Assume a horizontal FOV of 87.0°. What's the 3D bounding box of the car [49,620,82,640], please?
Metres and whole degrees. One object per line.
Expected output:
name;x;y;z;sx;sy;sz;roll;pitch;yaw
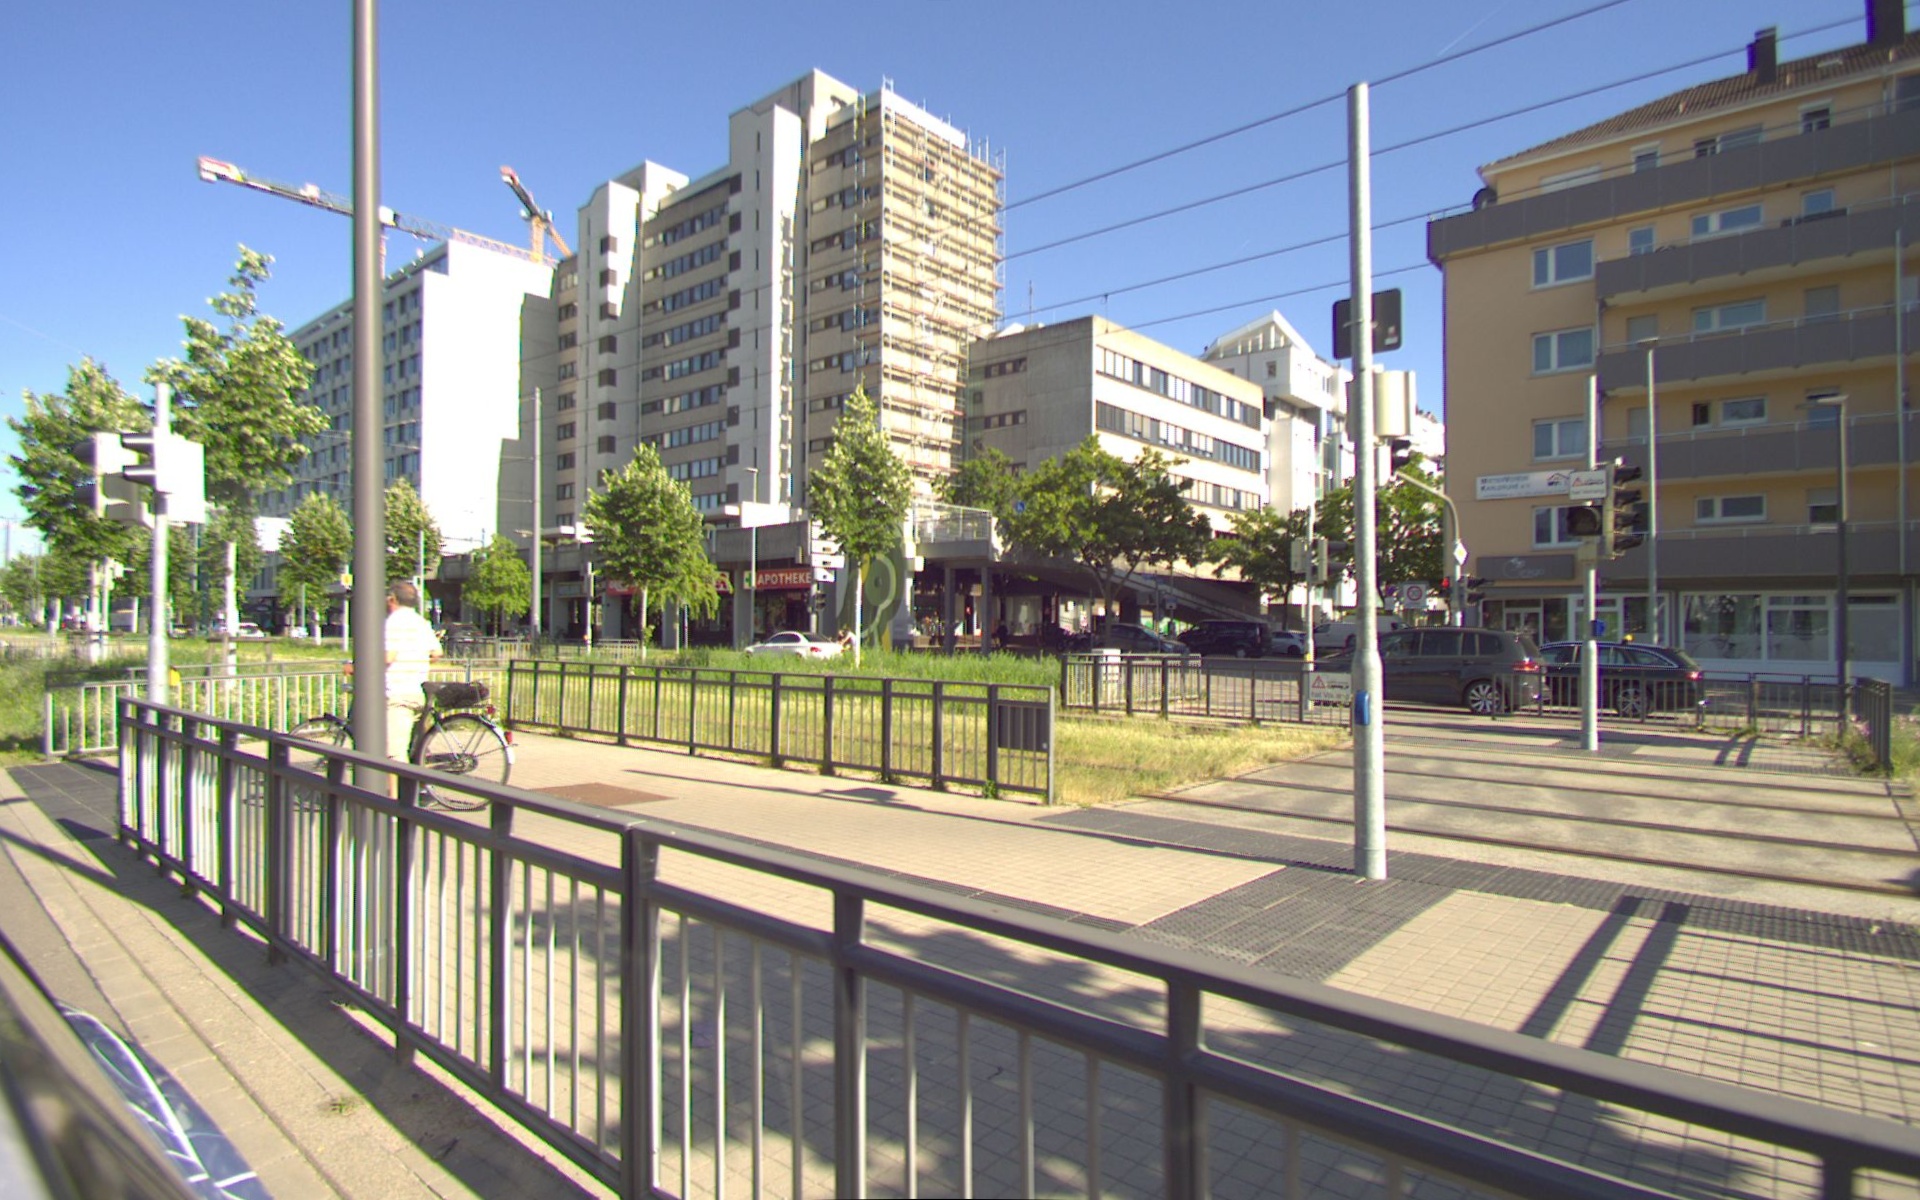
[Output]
car;-86.139;2.830;97.443;4.284;1.833;1.972;-1;-1;42

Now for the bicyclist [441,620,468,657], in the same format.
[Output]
bicyclist;-17.326;1.301;34.718;0.755;1.234;0.582;0;-1;-18

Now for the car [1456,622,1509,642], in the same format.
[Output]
car;46.945;2.849;90.920;3.993;1.652;1.975;-1;-1;37

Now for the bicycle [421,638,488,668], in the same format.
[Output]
bicycle;-17.325;1.813;34.711;1.982;0.958;0.564;0;-1;-18

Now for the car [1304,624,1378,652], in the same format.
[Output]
car;24.091;2.359;63.978;3.994;1.652;1.975;-1;-1;38

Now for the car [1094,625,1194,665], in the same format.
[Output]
car;8.262;1.976;45.507;3.999;1.652;1.972;-1;-1;42

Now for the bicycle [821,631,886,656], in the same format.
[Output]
bicycle;-4.328;1.747;41.040;2.655;0.958;0.558;-1;-1;22

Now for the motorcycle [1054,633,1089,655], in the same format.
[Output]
motorcycle;5.772;2.267;52.557;1.876;1.114;0.440;-1;-1;42

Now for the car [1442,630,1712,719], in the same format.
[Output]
car;12.485;1.446;20.631;4.502;1.590;1.974;-1;-3;39

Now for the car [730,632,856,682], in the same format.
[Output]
car;-5.991;1.974;36.009;4.502;1.590;1.974;-1;-1;39

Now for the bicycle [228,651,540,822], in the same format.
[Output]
bicycle;-4.184;0.942;7.378;2.063;1.099;0.731;-1;-1;15

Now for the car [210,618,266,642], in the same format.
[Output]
car;-49.051;2.020;68.726;4.502;1.590;1.974;-1;-1;39

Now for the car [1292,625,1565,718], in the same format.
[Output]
car;9.048;1.325;19.731;4.502;1.590;1.974;-1;-3;39

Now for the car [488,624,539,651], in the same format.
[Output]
car;-27.380;2.260;62.155;1.691;1.531;4.005;0;-1;-6

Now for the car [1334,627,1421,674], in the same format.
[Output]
car;16.000;1.879;38.710;1.998;1.630;3.947;-1;-1;40

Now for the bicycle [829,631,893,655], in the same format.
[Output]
bicycle;-4.101;1.752;41.708;2.655;0.958;0.558;-1;-1;22

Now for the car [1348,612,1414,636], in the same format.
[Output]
car;29.865;1.675;71.834;3.994;1.652;1.975;-1;-1;38

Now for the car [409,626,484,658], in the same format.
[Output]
car;-27.102;2.193;53.377;4.102;1.590;1.974;-1;-4;39

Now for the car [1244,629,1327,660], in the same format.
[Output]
car;18.151;2.467;56.547;3.994;1.619;1.975;-1;-1;38

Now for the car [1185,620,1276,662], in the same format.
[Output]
car;13.613;2.027;50.970;3.994;1.984;1.975;-1;-1;38

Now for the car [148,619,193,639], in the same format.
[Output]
car;-64.174;2.328;82.232;4.502;1.590;1.974;-1;-1;39

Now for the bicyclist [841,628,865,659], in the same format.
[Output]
bicyclist;-4.331;1.765;41.024;0.762;1.234;0.576;-1;-1;22

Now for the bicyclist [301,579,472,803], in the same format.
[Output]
bicyclist;-4.156;0.624;7.375;0.723;1.524;0.824;-1;-1;15

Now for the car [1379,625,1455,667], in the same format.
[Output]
car;19.599;1.911;43.299;1.998;1.630;3.947;-1;-1;40

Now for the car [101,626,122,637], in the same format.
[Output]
car;-122.639;4.532;146.240;3.811;1.519;1.804;-1;-1;41

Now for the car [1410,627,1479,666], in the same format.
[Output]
car;22.478;2.131;46.867;1.998;1.630;3.947;-1;-1;40

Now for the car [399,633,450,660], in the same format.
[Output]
car;-36.680;3.155;69.427;1.768;1.696;4.005;0;-1;-6
